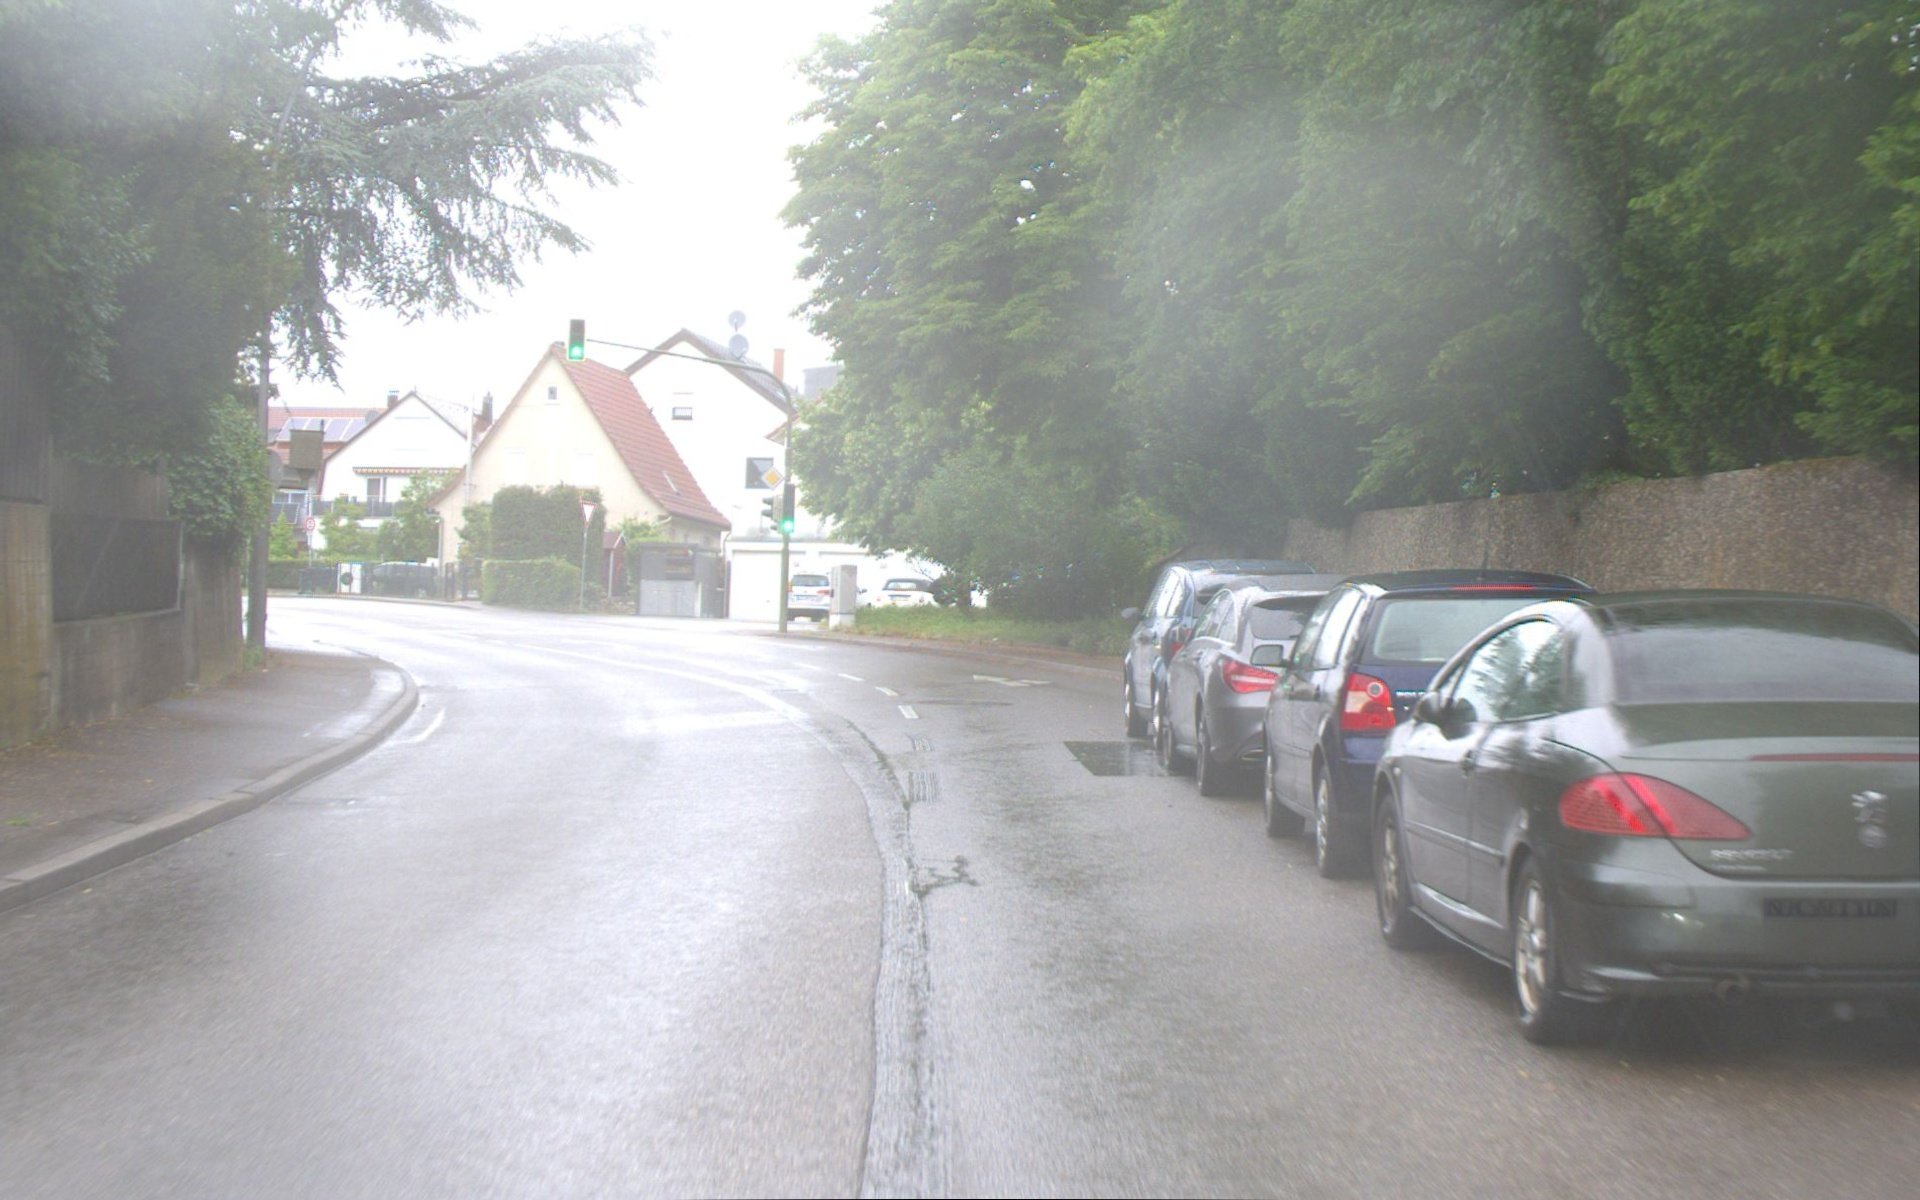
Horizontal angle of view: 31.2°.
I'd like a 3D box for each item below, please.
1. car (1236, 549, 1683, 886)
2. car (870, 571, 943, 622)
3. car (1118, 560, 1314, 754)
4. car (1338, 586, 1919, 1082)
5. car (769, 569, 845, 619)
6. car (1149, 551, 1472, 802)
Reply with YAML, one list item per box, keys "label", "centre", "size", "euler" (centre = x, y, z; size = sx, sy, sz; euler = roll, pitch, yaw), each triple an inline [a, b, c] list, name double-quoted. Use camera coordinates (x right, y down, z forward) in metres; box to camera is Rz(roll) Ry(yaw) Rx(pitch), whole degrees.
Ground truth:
- label: "car"
  centre: [2.435, 0.549, 17.565]
  size: [1.647, 1.492, 3.709]
  euler: [2, 0, -1]
- label: "car"
  centre: [-1.561, -0.128, 102.128]
  size: [1.907, 1.437, 4.000]
  euler: [1, 1, 3]
- label: "car"
  centre: [2.107, 0.462, 28.910]
  size: [1.302, 1.492, 3.364]
  euler: [2, 0, -1]
- label: "car"
  centre: [2.483, 0.667, 11.933]
  size: [1.651, 1.367, 4.182]
  euler: [1, 1, -3]
- label: "car"
  centre: [-4.540, -0.199, 102.545]
  size: [1.907, 1.437, 4.000]
  euler: [1, 1, 3]
- label: "car"
  centre: [2.272, 0.485, 23.264]
  size: [1.647, 1.492, 4.246]
  euler: [2, 0, -1]
